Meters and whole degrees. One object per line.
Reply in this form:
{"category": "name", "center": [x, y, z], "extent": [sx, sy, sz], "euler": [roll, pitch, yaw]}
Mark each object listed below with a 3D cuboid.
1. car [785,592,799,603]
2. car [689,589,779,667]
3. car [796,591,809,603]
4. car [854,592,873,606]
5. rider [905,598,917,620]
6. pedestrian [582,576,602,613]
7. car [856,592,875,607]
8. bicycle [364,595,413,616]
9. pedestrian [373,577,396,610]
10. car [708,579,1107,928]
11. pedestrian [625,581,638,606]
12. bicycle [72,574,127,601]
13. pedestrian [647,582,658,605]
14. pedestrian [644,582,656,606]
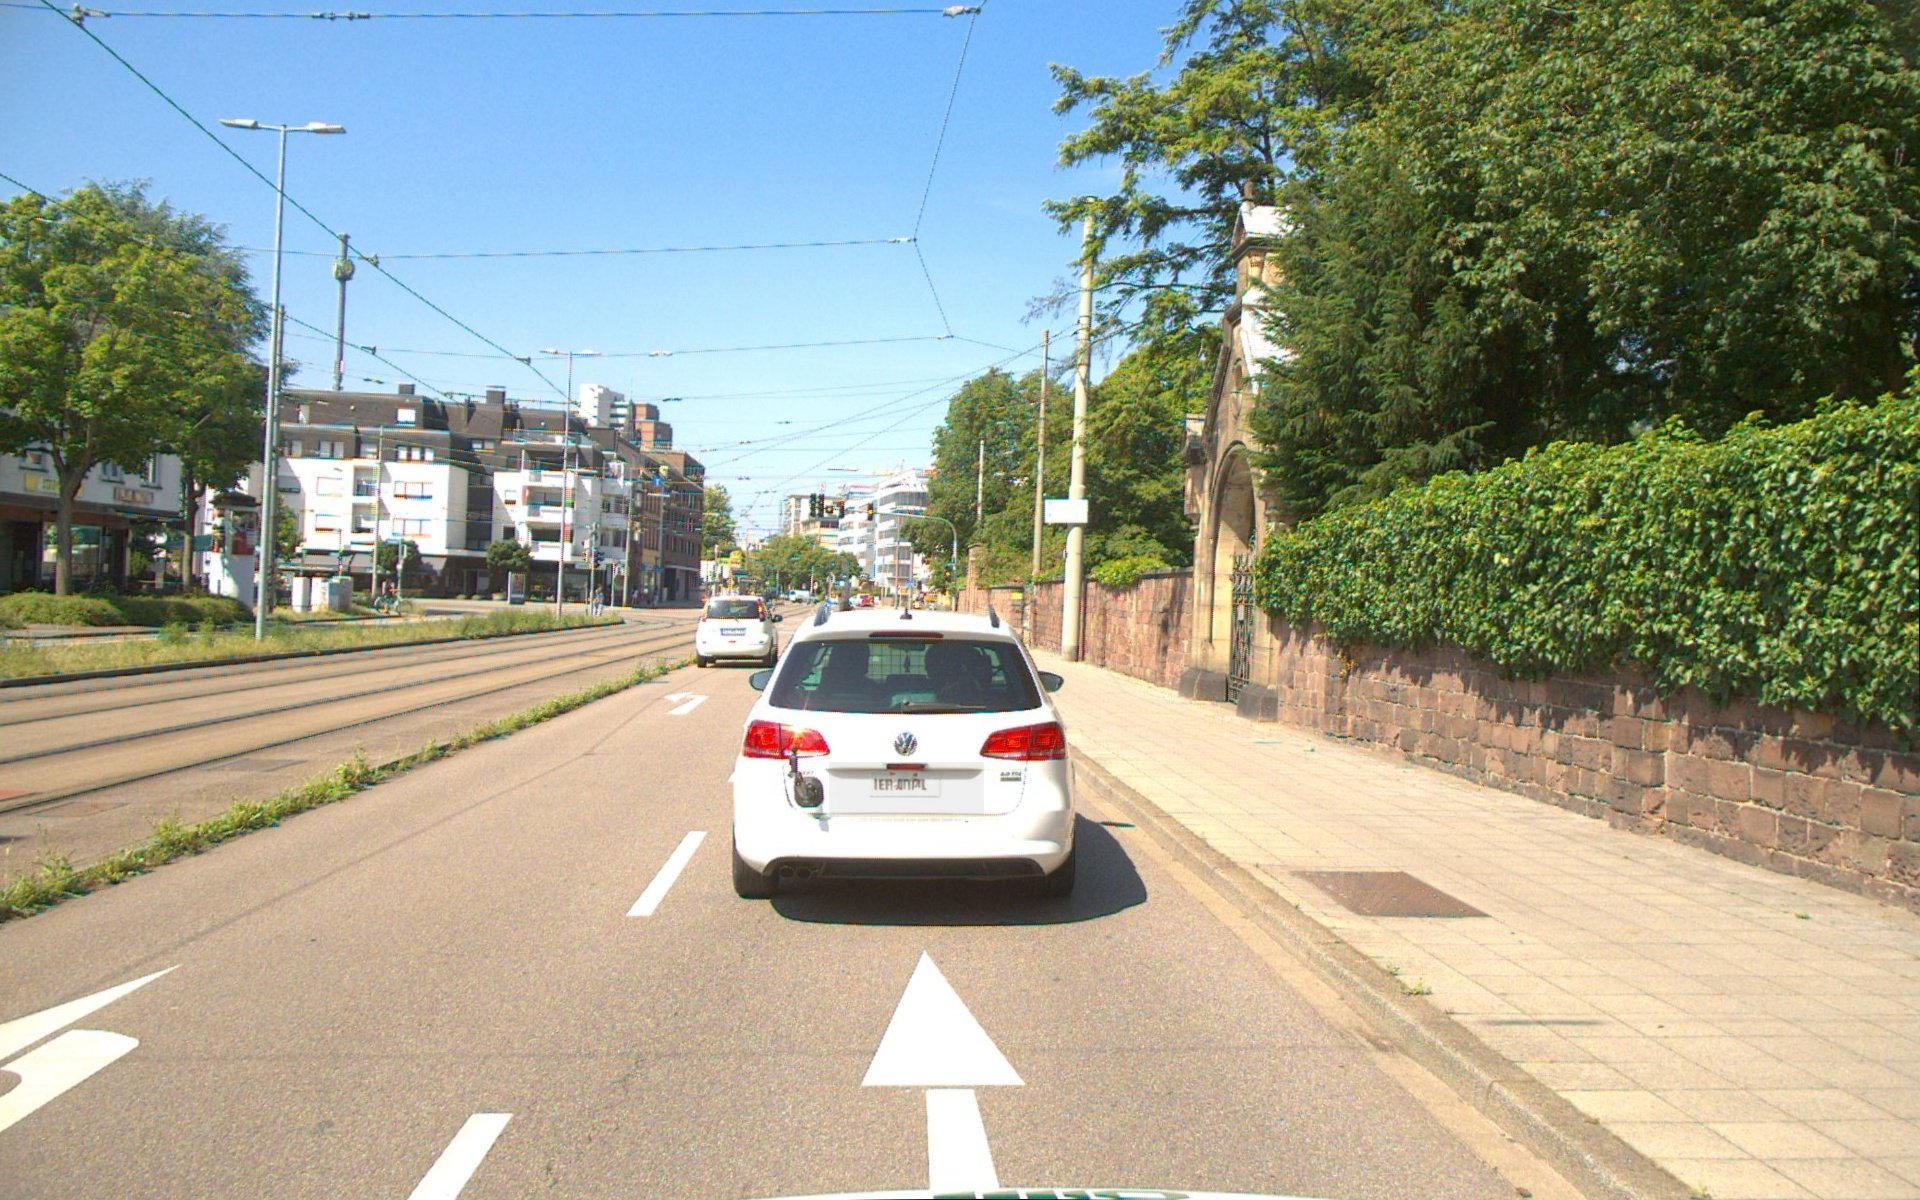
{"category": "car", "center": [-26.042, -0.336, 256.458], "extent": [1.669, 1.619, 3.523], "euler": [2, 0, -13]}
{"category": "car", "center": [-5.074, 0.594, 37.532], "extent": [1.696, 1.624, 4.008], "euler": [1, 0, -4]}
{"category": "car", "center": [-21.886, -0.432, 229.474], "extent": [1.665, 1.619, 3.532], "euler": [1, 0, -4]}
{"category": "car", "center": [-14.967, -0.127, 256.732], "extent": [1.962, 2.049, 3.981], "euler": [2, 0, -17]}
{"category": "rider", "center": [-3.887, 0.708, 130.784], "extent": [0.873, 1.759, 2.202], "euler": [2, 0, -3]}
{"category": "pedestrian", "center": [-17.539, -0.262, 78.843], "extent": [0.811, 1.769, 0.929], "euler": [2, 0, -11]}
{"category": "car", "center": [-13.539, -0.086, 236.670], "extent": [1.959, 1.937, 3.988], "euler": [2, 0, -12]}
{"category": "bicycle", "center": [-26.325, 0.258, 76.181], "extent": [0.543, 0.937, 2.166], "euler": [1, 0, 40]}
{"category": "pedestrian", "center": [-26.671, -0.313, 76.625], "extent": [0.556, 1.513, 0.811], "euler": [1, 0, 40]}
{"category": "car", "center": [-0.312, 0.681, 9.304], "extent": [1.743, 1.516, 3.845], "euler": [2, 0, -3]}
{"category": "pedestrian", "center": [-28.045, -0.550, 141.283], "extent": [0.919, 2.049, 0.989], "euler": [2, 0, -7]}
{"category": "bicycle", "center": [-30.355, -0.433, 58.395], "extent": [0.767, 0.904, 2.389], "euler": [2, 0, -3]}
{"category": "pedestrian", "center": [-28.463, -0.578, 152.954], "extent": [0.919, 2.049, 0.989], "euler": [2, 0, -9]}
{"category": "pedestrian", "center": [-27.441, -0.535, 146.494], "extent": [0.919, 2.049, 0.988], "euler": [2, 0, -9]}
